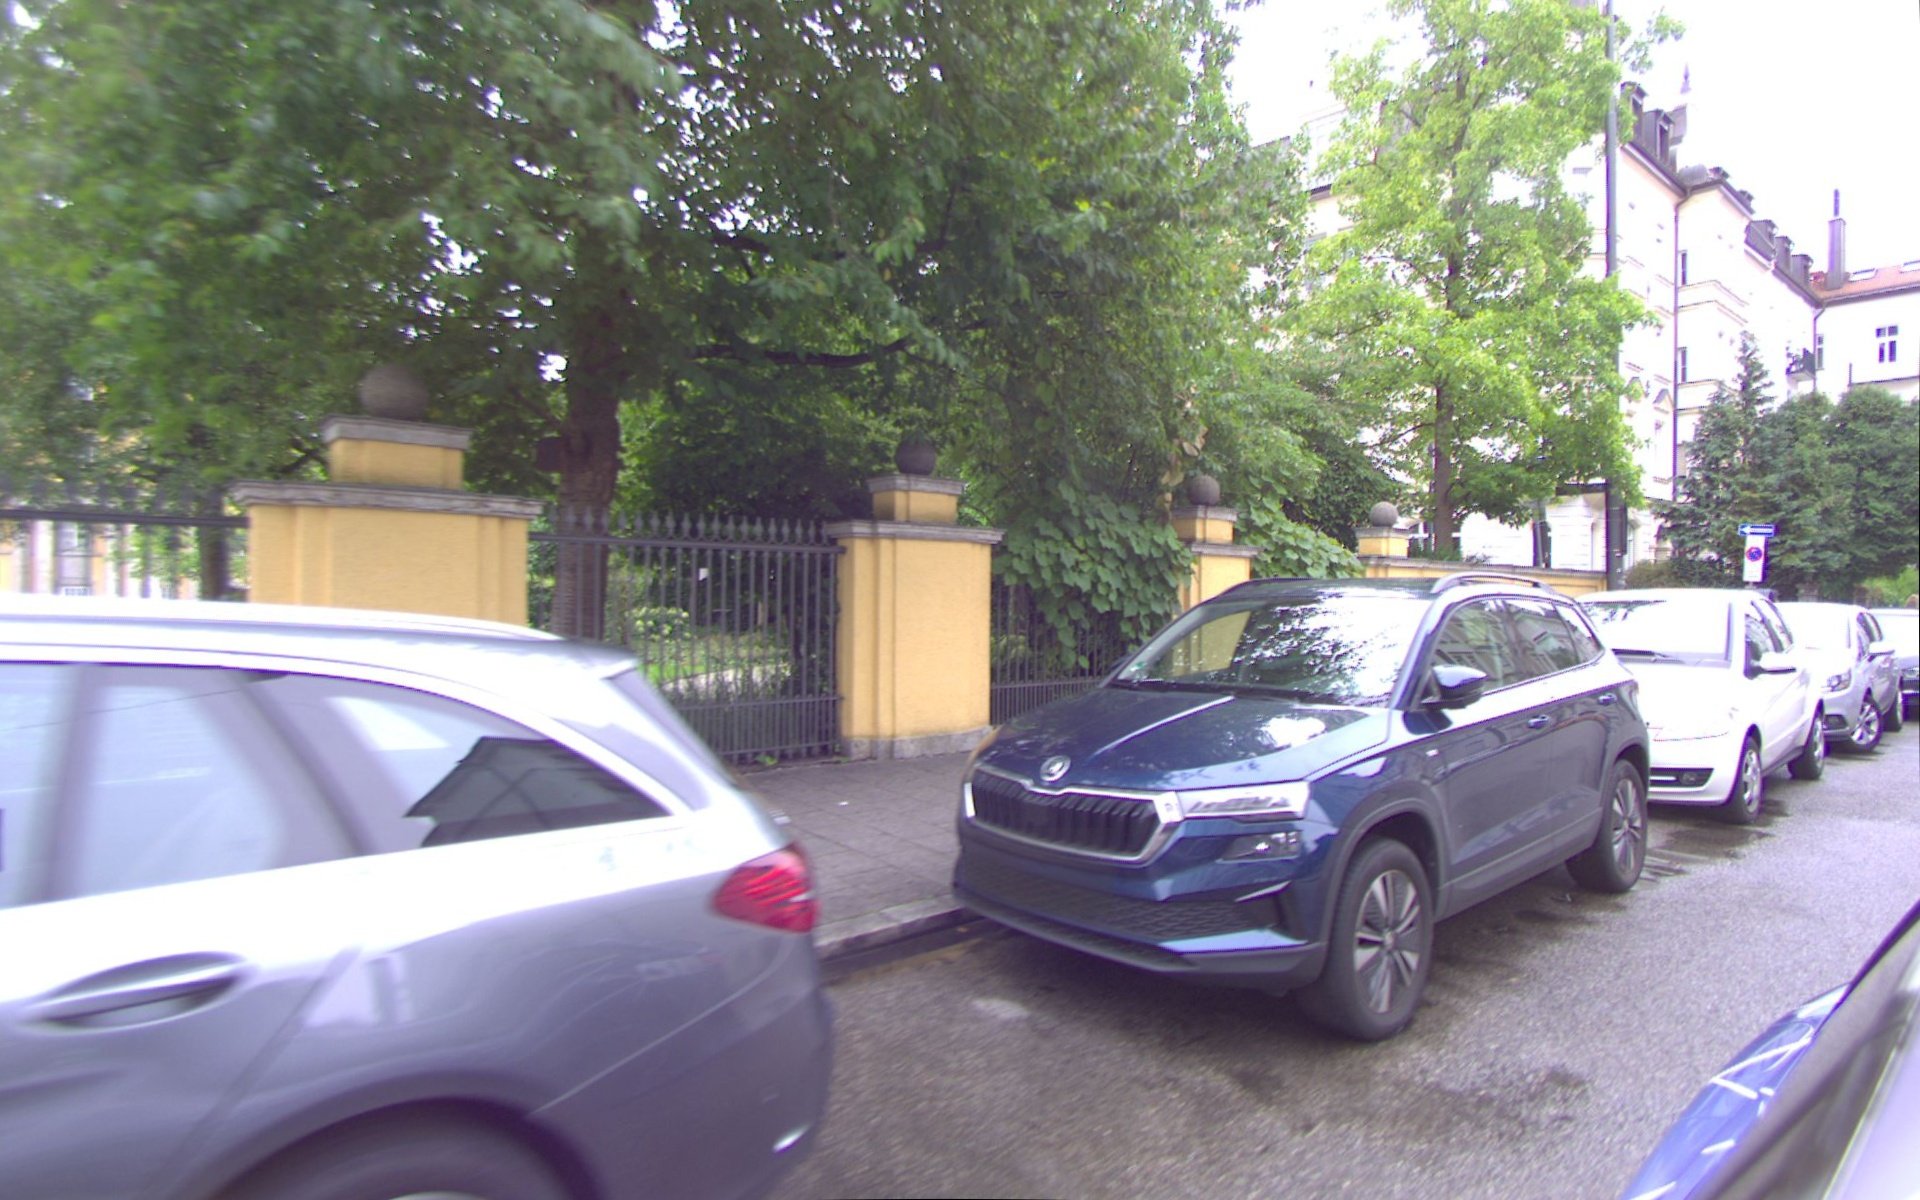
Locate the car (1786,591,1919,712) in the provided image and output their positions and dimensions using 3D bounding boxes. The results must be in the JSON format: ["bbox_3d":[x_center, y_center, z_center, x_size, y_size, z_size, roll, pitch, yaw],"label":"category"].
[{"bbox_3d":[13.313,0.635,14.342,4.869,1.471,1.716,0,0,-41],"label":"car"}]

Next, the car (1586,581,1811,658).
[{"bbox_3d":[19.702,0.489,27.160,1.713,1.896,4.668,4,-2,-44],"label":"car"}]

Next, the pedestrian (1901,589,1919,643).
[{"bbox_3d":[30.879,0.503,32.467,1.033,1.711,0.875,0,0,-40],"label":"pedestrian"}]

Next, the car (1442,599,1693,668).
[{"bbox_3d":[14.470,0.723,24.321,4.940,1.430,1.715,1,0,44],"label":"car"}]

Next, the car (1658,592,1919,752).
[{"bbox_3d":[9.449,0.661,11.347,4.111,1.471,1.716,0,0,-41],"label":"car"}]

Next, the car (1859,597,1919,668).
[{"bbox_3d":[20.503,0.678,19.455,1.755,1.431,4.592,0,0,-16],"label":"car"}]

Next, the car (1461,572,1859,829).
[{"bbox_3d":[5.908,0.616,8.325,4.244,1.590,1.716,0,0,-41],"label":"car"}]

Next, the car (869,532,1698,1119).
[{"bbox_3d":[1.929,0.602,4.920,4.609,1.590,1.716,0,0,-41],"label":"car"}]

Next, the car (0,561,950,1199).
[{"bbox_3d":[-2.252,0.658,1.346,4.436,1.432,1.695,0,0,-41],"label":"car"}]
